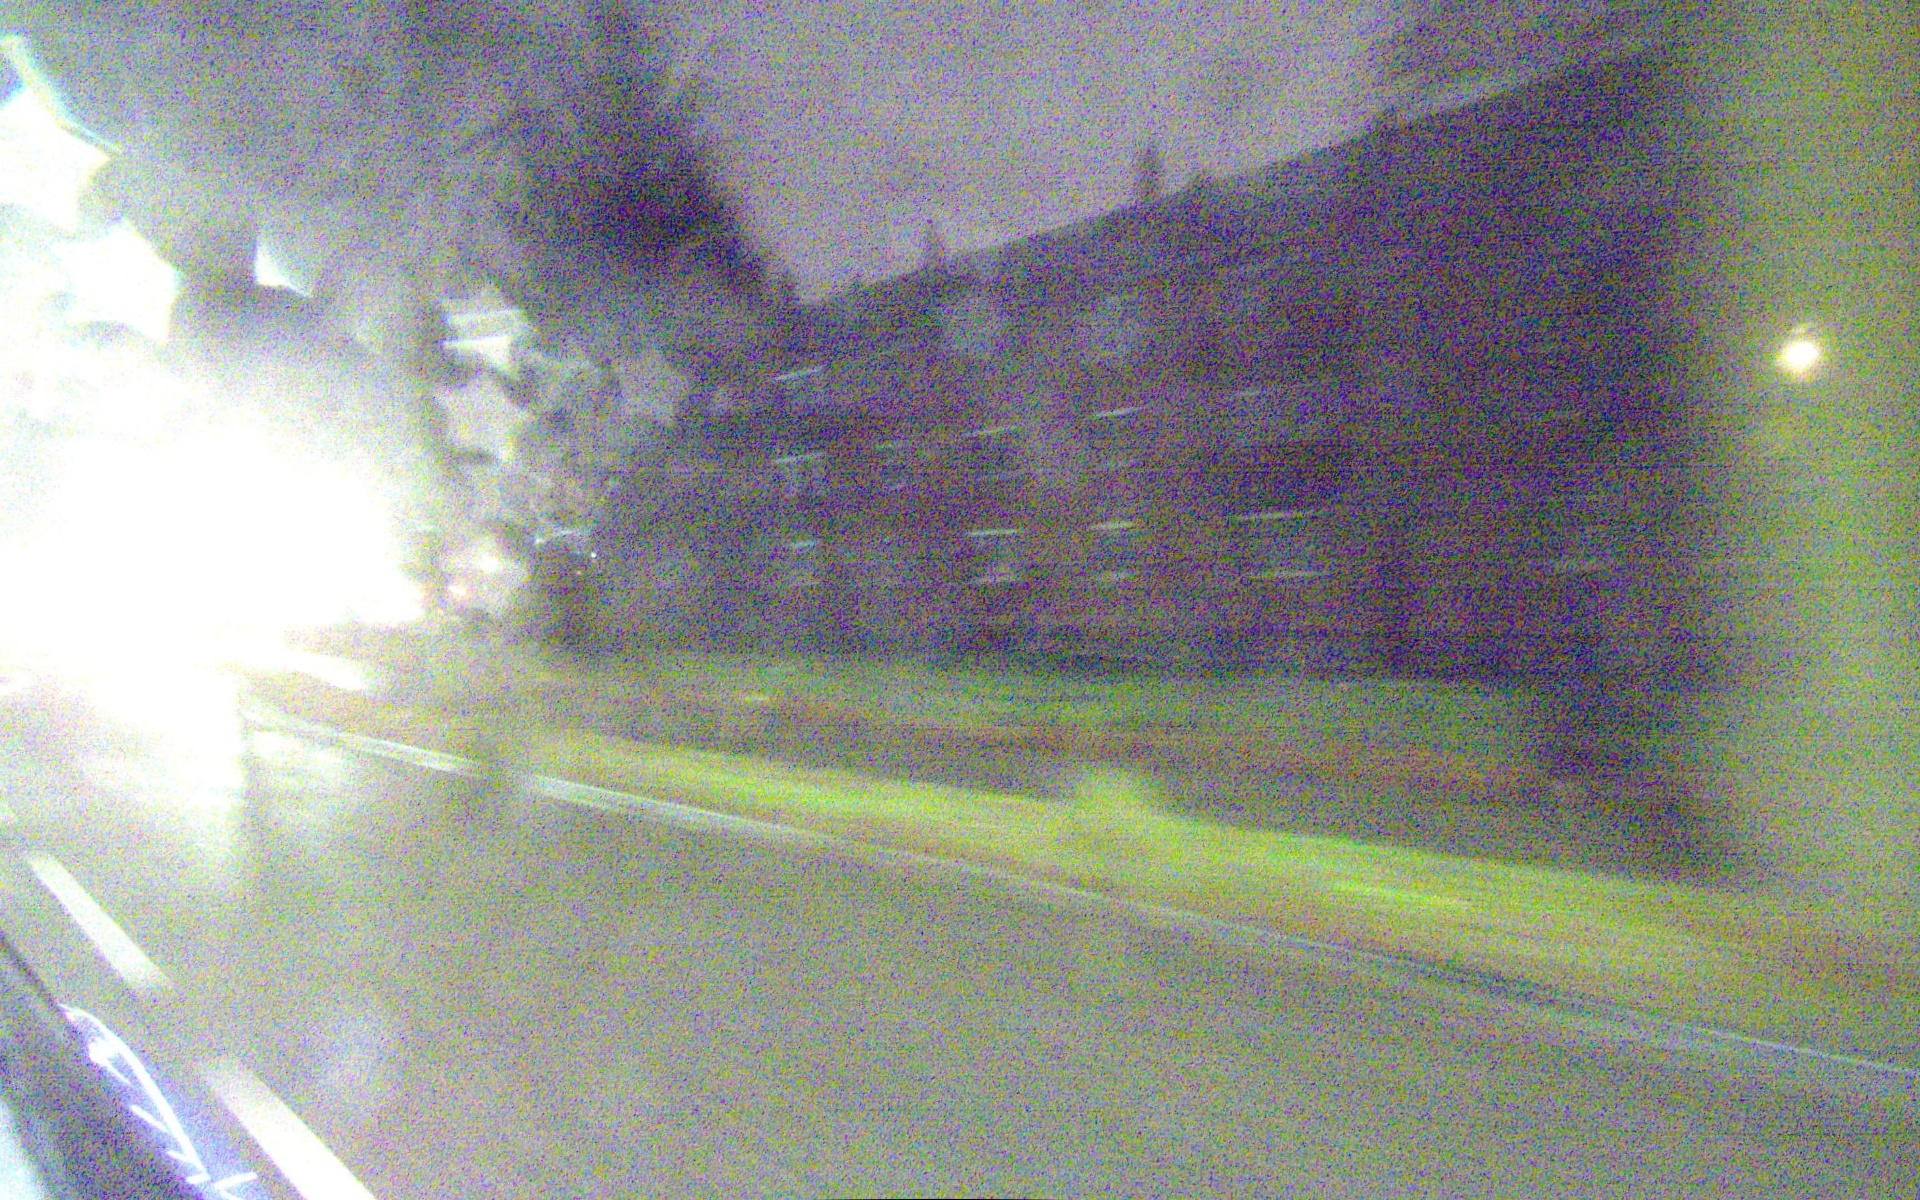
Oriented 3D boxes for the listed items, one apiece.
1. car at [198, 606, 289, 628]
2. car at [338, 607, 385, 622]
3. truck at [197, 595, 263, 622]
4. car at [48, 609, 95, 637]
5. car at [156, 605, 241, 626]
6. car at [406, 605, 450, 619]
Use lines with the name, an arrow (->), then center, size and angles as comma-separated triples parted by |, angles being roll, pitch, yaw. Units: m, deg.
car -> -62.526, 1.456, 88.440 | 1.988, 1.829, 6.389 | 0, 0, 24
car -> -67.256, 1.580, 113.722 | 4.355, 1.634, 2.007 | 0, 0, -25
truck -> -67.034, 0.725, 93.109 | 2.283, 2.415, 7.835 | 0, 0, -15
car -> -53.053, 1.360, 60.478 | 1.969, 1.466, 4.309 | 4, -3, -41
car -> -59.121, 1.207, 78.683 | 1.984, 1.477, 5.069 | -1, 0, 18
car -> -60.072, 1.335, 114.367 | 4.354, 1.634, 2.007 | 0, 0, -25
